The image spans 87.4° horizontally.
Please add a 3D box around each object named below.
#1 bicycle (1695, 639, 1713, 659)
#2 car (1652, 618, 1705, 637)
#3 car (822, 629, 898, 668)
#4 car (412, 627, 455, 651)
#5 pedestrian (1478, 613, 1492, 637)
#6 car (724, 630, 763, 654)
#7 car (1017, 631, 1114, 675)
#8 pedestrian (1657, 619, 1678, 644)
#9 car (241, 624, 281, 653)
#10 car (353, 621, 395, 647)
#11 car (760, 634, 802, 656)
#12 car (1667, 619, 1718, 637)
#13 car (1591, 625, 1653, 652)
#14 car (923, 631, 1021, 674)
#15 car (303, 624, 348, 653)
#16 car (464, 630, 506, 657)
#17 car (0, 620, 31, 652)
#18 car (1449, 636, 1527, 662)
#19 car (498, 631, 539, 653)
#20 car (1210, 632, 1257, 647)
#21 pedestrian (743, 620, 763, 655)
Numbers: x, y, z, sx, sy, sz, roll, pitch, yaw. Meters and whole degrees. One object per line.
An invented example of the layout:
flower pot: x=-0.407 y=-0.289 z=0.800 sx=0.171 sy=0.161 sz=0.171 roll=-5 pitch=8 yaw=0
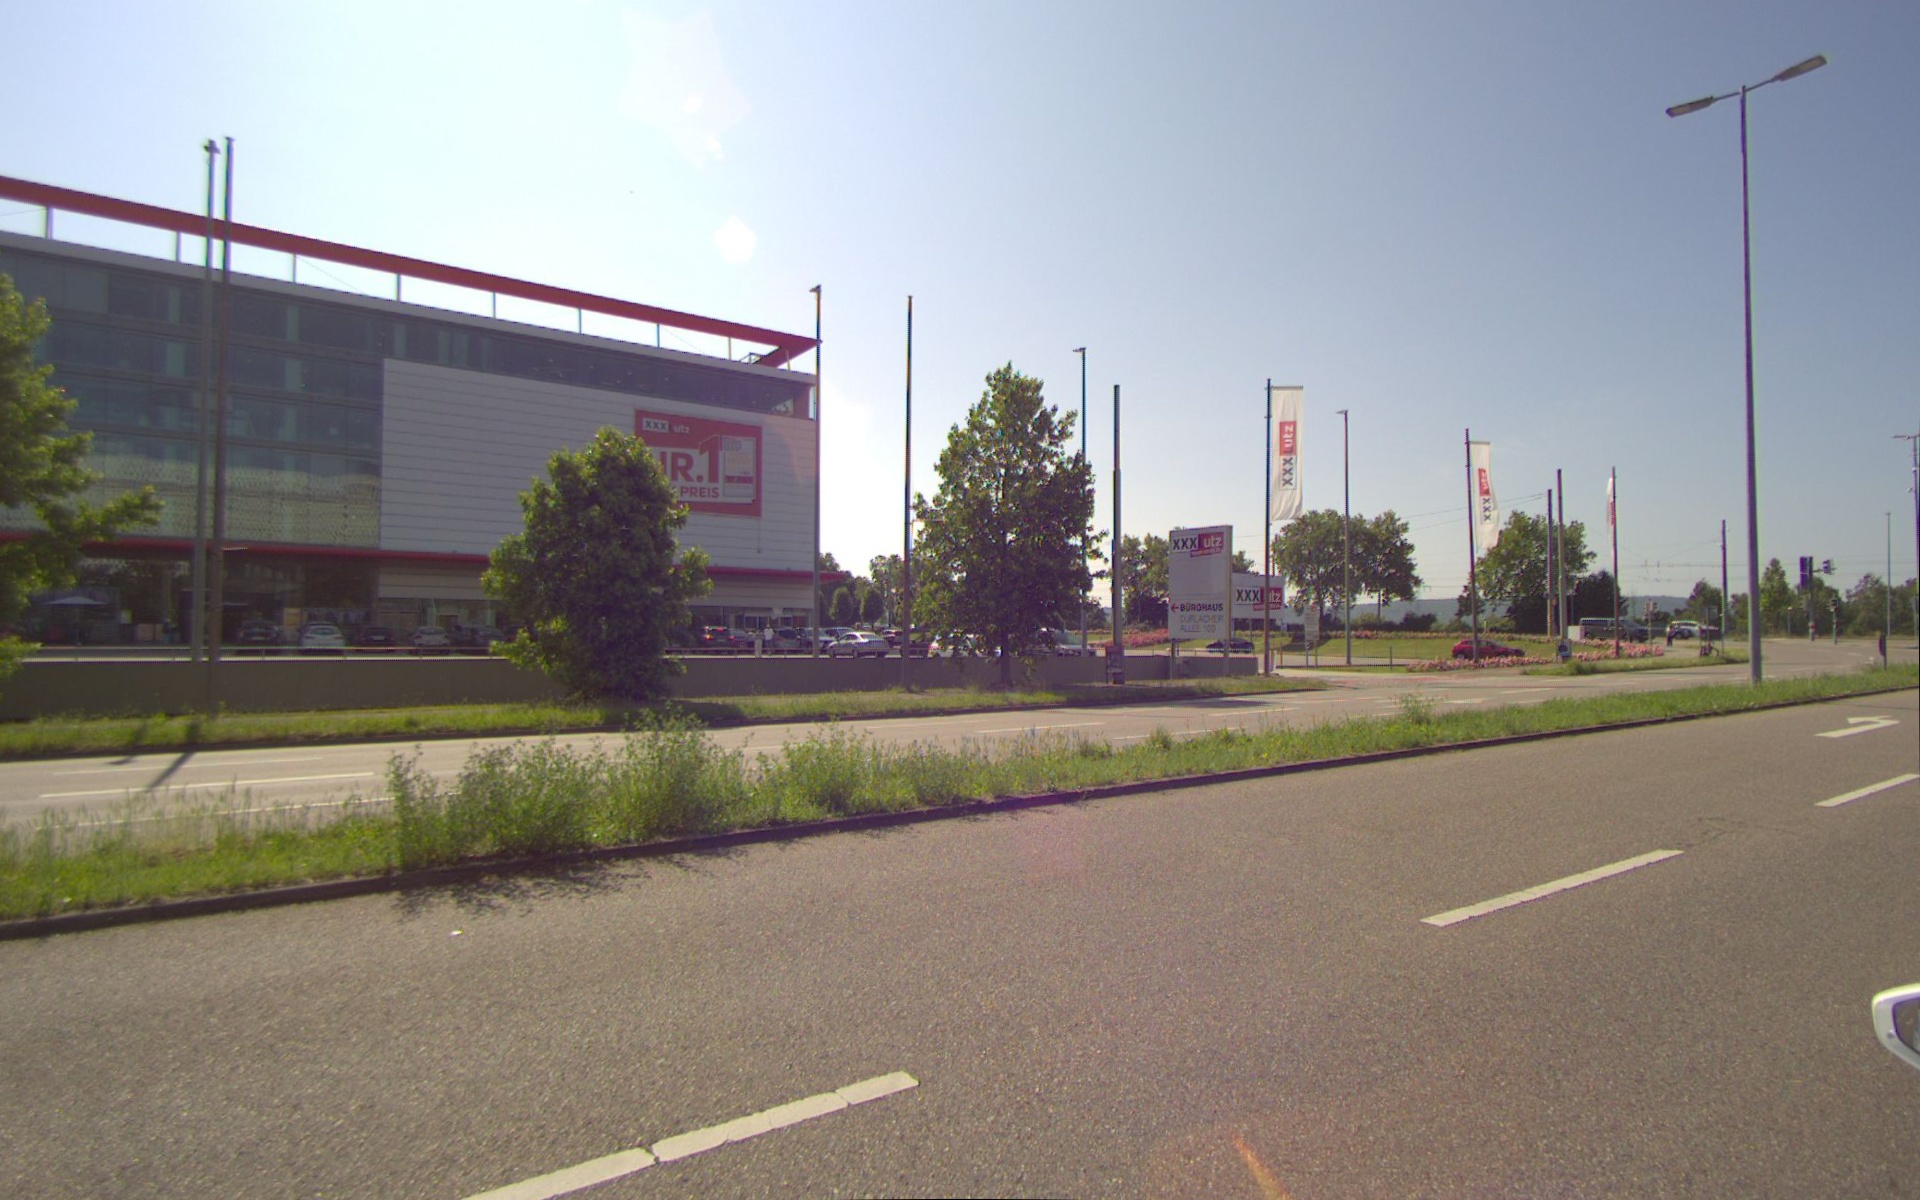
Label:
bicycle: x=39.619 y=2.630 z=53.496 sx=1.630 sy=1.036 sz=0.328 roll=4 pitch=-5 yaw=-39
car: x=60.122 y=2.303 z=84.087 sx=1.397 sy=1.519 sz=3.361 roll=3 pitch=-3 yaw=-37
car: x=-5.594 y=2.685 z=55.626 sx=2.012 sy=2.040 sz=4.635 roll=1 pitch=-3 yaw=-38
car: x=-27.366 y=2.026 z=52.157 sx=1.466 sy=1.214 sz=3.475 roll=3 pitch=-3 yaw=-36
pedestrian: x=44.279 y=2.083 z=84.680 sx=0.907 sy=1.997 sz=0.712 roll=2 pitch=-3 yaw=-31
car: x=-14.738 y=2.854 z=68.408 sx=1.289 sy=1.579 sz=3.210 roll=1 pitch=-2 yaw=-39
car: x=4.620 y=2.322 z=44.515 sx=1.926 sy=1.866 sz=4.384 roll=2 pitch=-3 yaw=-35
pedestrian: x=50.068 y=2.252 z=71.091 sx=0.893 sy=1.729 sz=0.838 roll=0 pitch=-2 yaw=-23
car: x=-33.640 y=1.853 z=48.318 sx=1.501 sy=1.347 sz=3.067 roll=3 pitch=-3 yaw=-36
car: x=-32.005 y=1.858 z=54.856 sx=1.614 sy=1.347 sz=3.640 roll=3 pitch=-3 yaw=-36
car: x=-11.407 y=2.832 z=63.906 sx=1.501 sy=1.347 sz=3.067 roll=3 pitch=-3 yaw=-36
car: x=62.923 y=2.431 z=86.339 sx=1.398 sy=1.519 sz=3.317 roll=3 pitch=-3 yaw=-38
car: x=53.083 y=3.065 z=80.622 sx=1.785 sy=1.951 sz=3.990 roll=0 pitch=0 yaw=-13
car: x=0.436 y=2.178 z=41.905 sx=1.854 sy=1.648 sz=4.382 roll=3 pitch=-4 yaw=-36
car: x=-31.353 y=1.902 z=49.597 sx=1.688 sy=1.347 sz=3.067 roll=3 pitch=-3 yaw=-36
car: x=-25.272 y=2.310 z=53.390 sx=1.501 sy=1.347 sz=3.067 roll=3 pitch=-3 yaw=-36
car: x=-41.235 y=1.538 z=43.166 sx=1.501 sy=1.347 sz=3.192 roll=3 pitch=-3 yaw=-36
car: x=34.532 y=3.214 z=65.775 sx=1.811 sy=1.626 sz=4.149 roll=3 pitch=-3 yaw=-39
car: x=-26.102 y=2.462 z=59.398 sx=1.591 sy=1.244 sz=3.067 roll=3 pitch=-3 yaw=-36
car: x=24.238 y=3.498 z=89.198 sx=1.712 sy=1.347 sz=3.821 roll=3 pitch=-3 yaw=-36
pedestrian: x=-12.229 y=2.192 z=59.379 sx=1.007 sy=2.040 sz=0.860 roll=0 pitch=-2 yaw=-21
